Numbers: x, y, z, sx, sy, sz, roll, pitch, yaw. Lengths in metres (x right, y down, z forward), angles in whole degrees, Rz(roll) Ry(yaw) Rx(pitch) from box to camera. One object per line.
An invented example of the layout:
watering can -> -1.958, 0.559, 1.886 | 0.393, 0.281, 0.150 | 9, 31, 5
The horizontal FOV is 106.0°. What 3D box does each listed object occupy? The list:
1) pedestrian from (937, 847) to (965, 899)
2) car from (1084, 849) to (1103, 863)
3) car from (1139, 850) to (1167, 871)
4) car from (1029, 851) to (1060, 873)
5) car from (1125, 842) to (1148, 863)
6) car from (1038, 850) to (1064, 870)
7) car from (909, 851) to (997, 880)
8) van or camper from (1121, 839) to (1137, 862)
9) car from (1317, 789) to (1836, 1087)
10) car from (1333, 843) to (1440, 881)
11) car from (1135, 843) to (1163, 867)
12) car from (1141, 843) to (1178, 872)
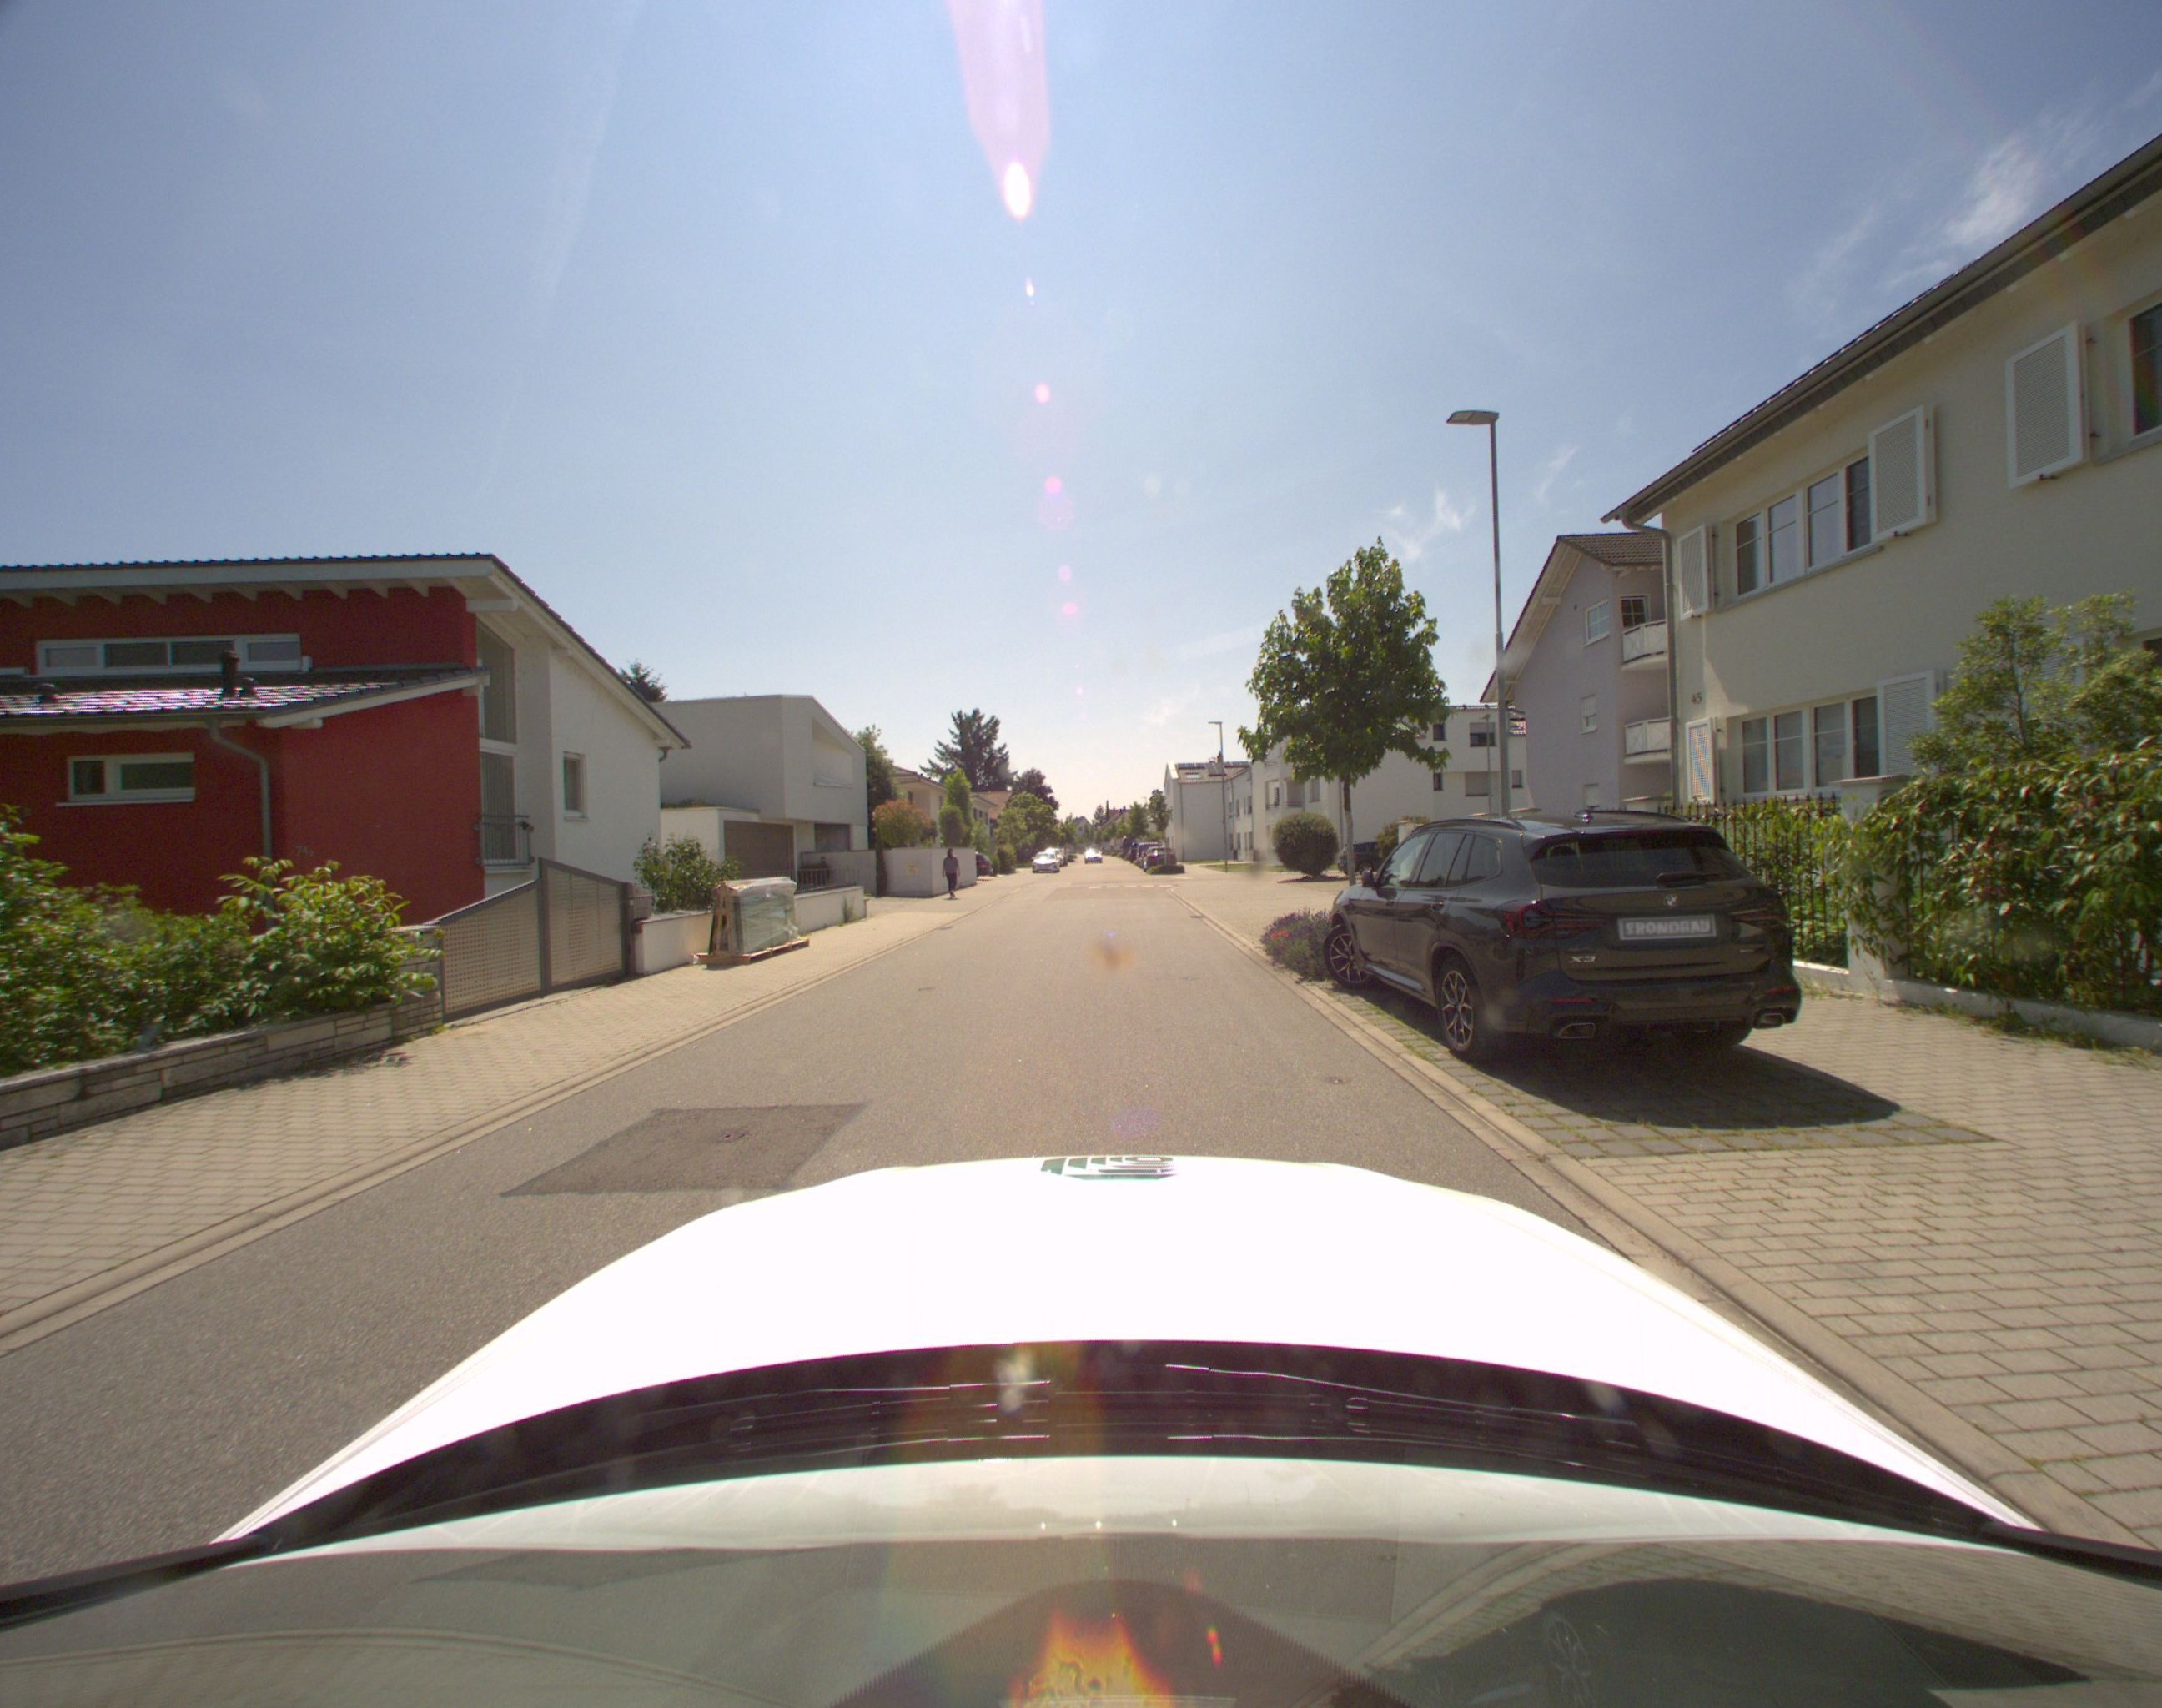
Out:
pedestrian -> -4.540, 0.650, 28.449 | 0.711, 1.747, 0.961 | -2, 0, 2
car -> 1.392, 0.222, 89.467 | 1.845, 1.478, 4.704 | -2, 0, 4
car -> 5.310, 0.445, 60.530 | 1.674, 1.441, 4.026 | -2, 0, 0
car -> -2.576, 0.532, 59.145 | 1.845, 1.488, 4.387 | -2, 0, 2
car -> 5.506, -0.182, 81.543 | 1.986, 1.947, 5.217 | -3, 0, 2
car -> -2.695, 0.524, 74.363 | 1.920, 1.687, 4.500 | -2, 0, 2
car -> -7.014, 0.594, 44.864 | 4.407, 1.473, 1.853 | 1, 0, 5
van or camper -> 6.260, -0.421, 106.329 | 1.986, 2.941, 4.002 | -2, 0, 2
car -> 3.510, 0.454, 6.978 | 1.807, 1.656, 4.568 | -2, 1, 3
car -> 13.057, 0.326, 35.004 | 3.969, 1.467, 1.760 | -2, 0, 8
car -> 5.604, 0.076, 67.243 | 2.091, 1.882, 4.846 | -2, 0, 3
car -> 4.808, 0.221, 50.367 | 1.768, 1.595, 4.278 | -4, 0, 0
